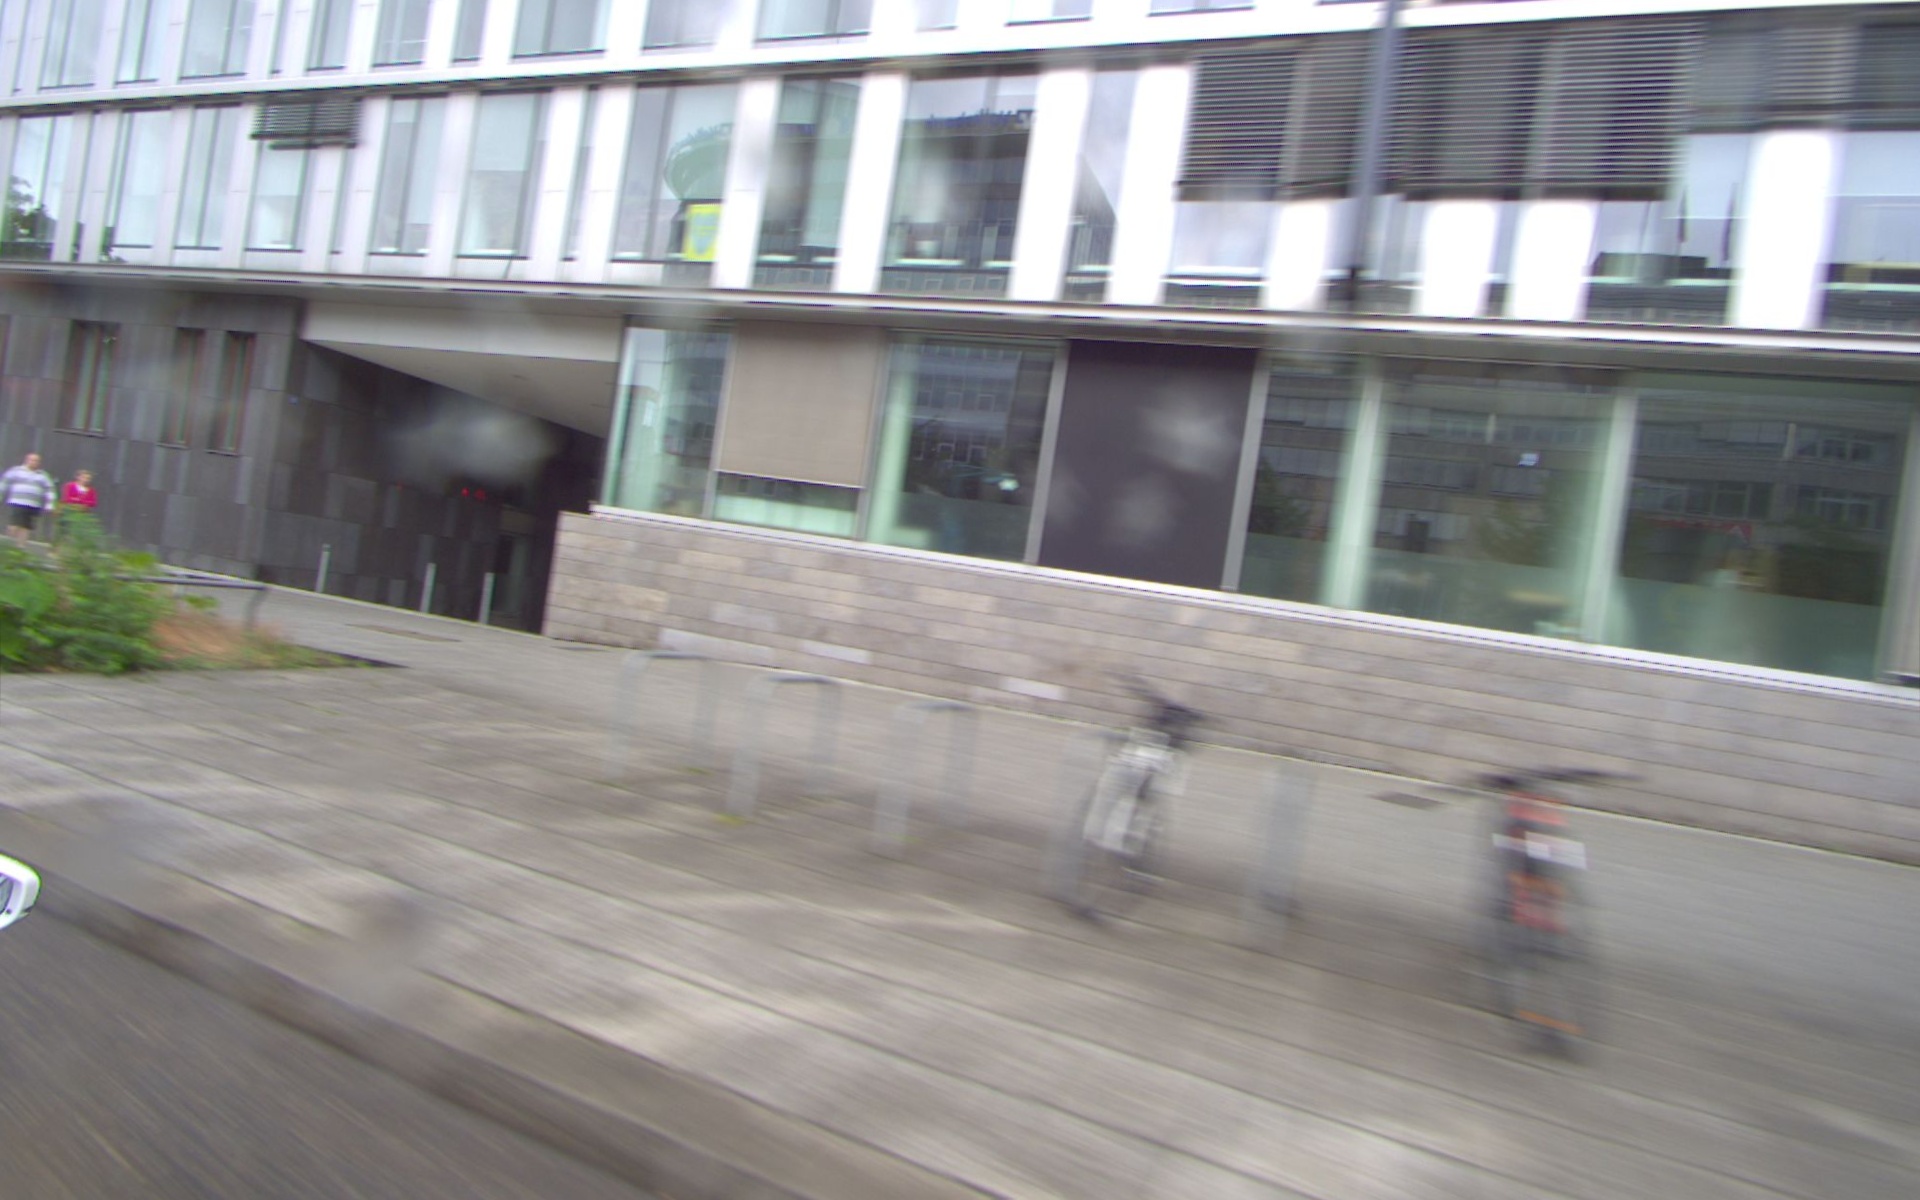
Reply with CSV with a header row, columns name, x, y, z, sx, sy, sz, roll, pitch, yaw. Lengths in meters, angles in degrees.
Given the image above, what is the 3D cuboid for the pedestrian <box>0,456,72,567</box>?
name,x,y,z,sx,sy,sz,roll,pitch,yaw
pedestrian,-16.514,-1.563,17.673,1.027,1.815,0.902,8,2,21

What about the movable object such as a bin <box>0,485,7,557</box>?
name,x,y,z,sx,sy,sz,roll,pitch,yaw
movable object such as a bin,-17.920,-1.499,17.971,1.418,1.280,0.733,8,2,23

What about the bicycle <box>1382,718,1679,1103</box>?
name,x,y,z,sx,sy,sz,roll,pitch,yaw
bicycle,2.483,1.179,4.470,0.794,1.117,1.987,8,0,29

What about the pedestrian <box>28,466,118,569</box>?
name,x,y,z,sx,sy,sz,roll,pitch,yaw
pedestrian,-16.307,-1.508,18.502,1.079,1.712,0.719,8,2,21

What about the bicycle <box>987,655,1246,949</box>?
name,x,y,z,sx,sy,sz,roll,pitch,yaw
bicycle,0.919,0.958,5.386,0.649,1.212,1.839,8,0,29
